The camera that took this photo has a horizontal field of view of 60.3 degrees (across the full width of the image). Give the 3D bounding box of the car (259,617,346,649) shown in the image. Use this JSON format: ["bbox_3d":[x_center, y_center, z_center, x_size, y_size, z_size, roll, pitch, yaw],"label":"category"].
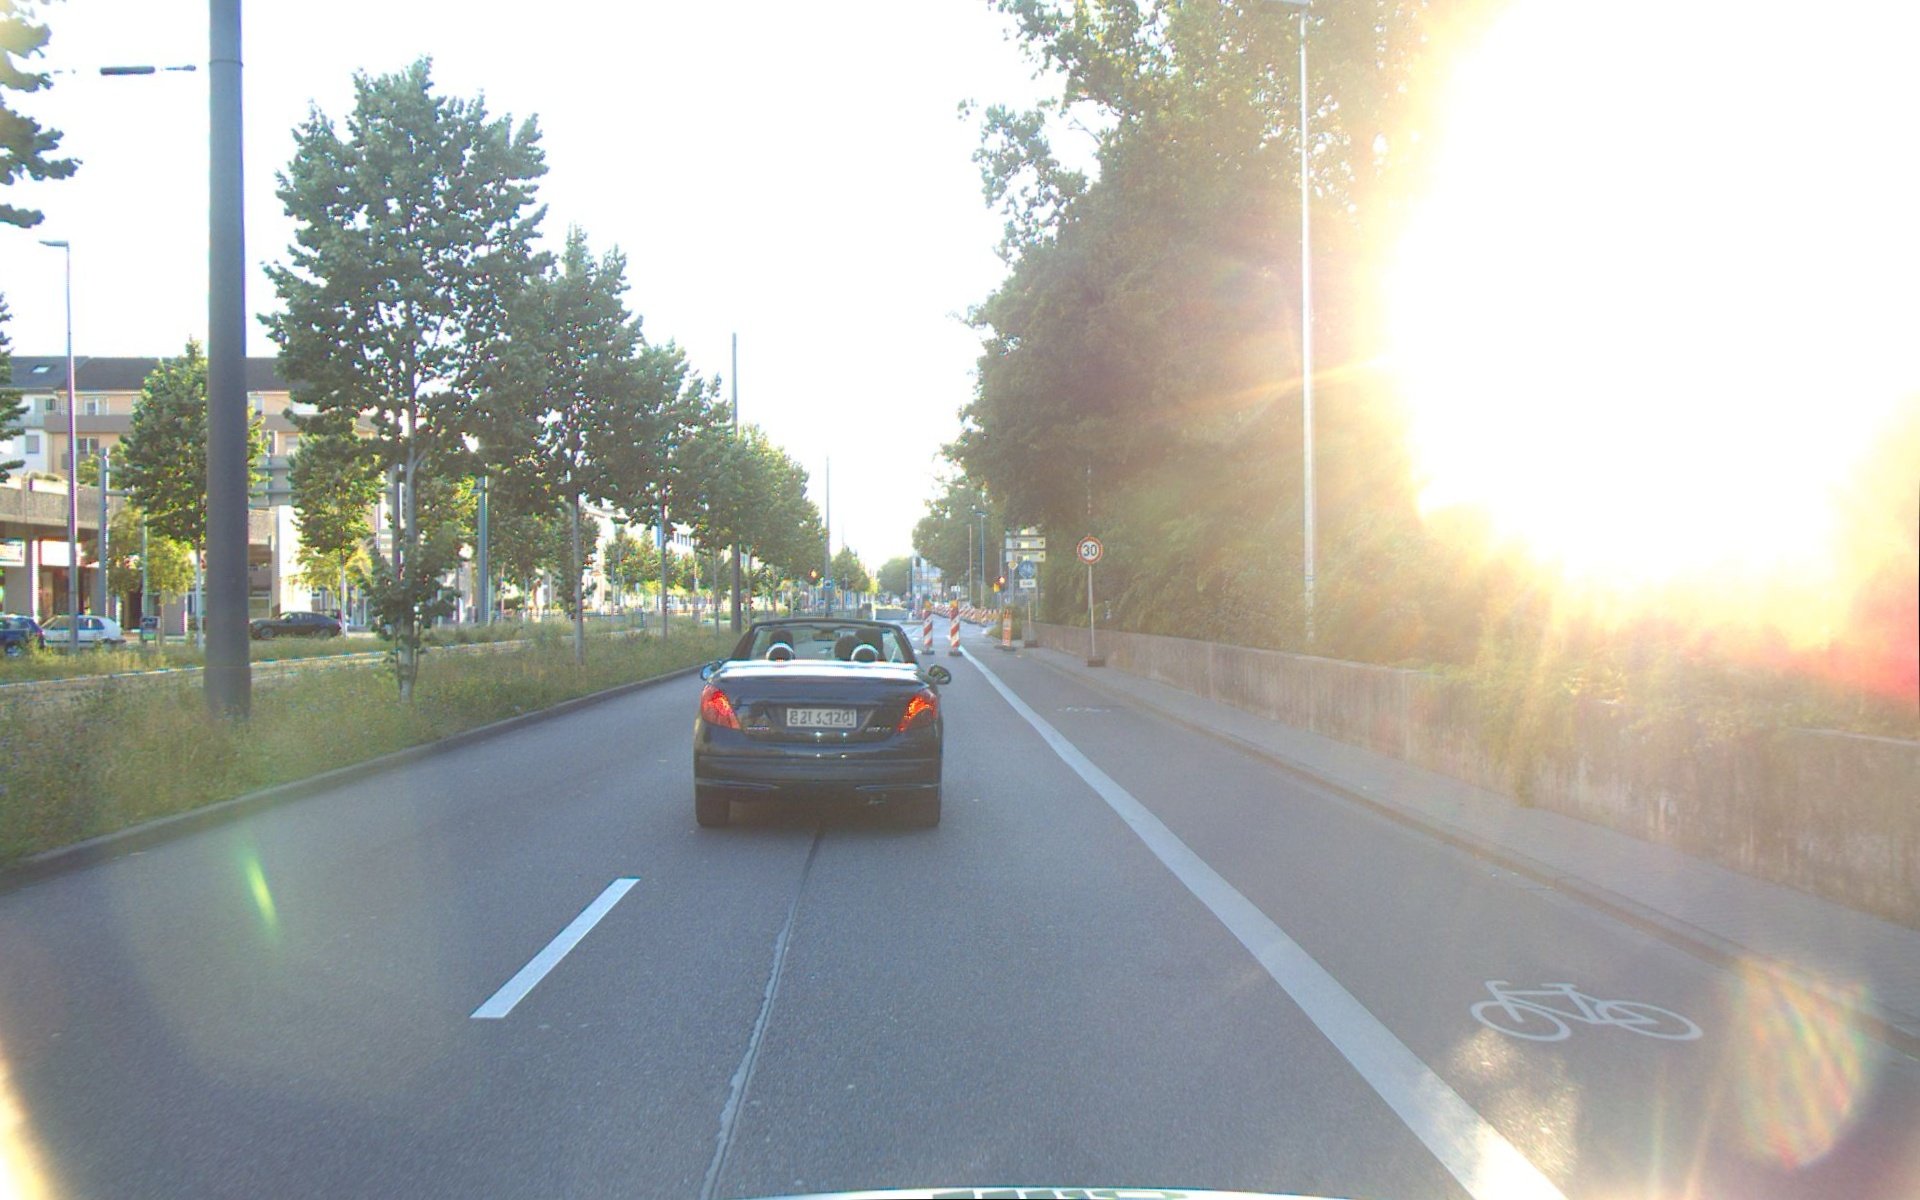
[{"bbox_3d":[-33.146,1.654,83.399,3.698,1.475,1.717,-1,-1,-42],"label":"car"}]

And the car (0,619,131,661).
[{"bbox_3d":[-33.213,1.477,61.389,4.090,1.461,1.800,2,0,-39],"label":"car"}]

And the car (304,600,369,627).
[{"bbox_3d":[-44.985,0.949,119.423,3.855,1.878,2.190,-1,0,-3],"label":"car"}]

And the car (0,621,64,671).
[{"bbox_3d":[-32.510,1.548,55.232,4.249,1.618,1.978,0,-1,-42],"label":"car"}]

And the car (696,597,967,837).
[{"bbox_3d":[-1.041,0.723,12.257,1.686,1.475,3.895,0,0,-7],"label":"car"}]

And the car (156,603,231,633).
[{"bbox_3d":[-54.367,1.266,117.433,4.245,1.800,2.164,-3,1,-5],"label":"car"}]
